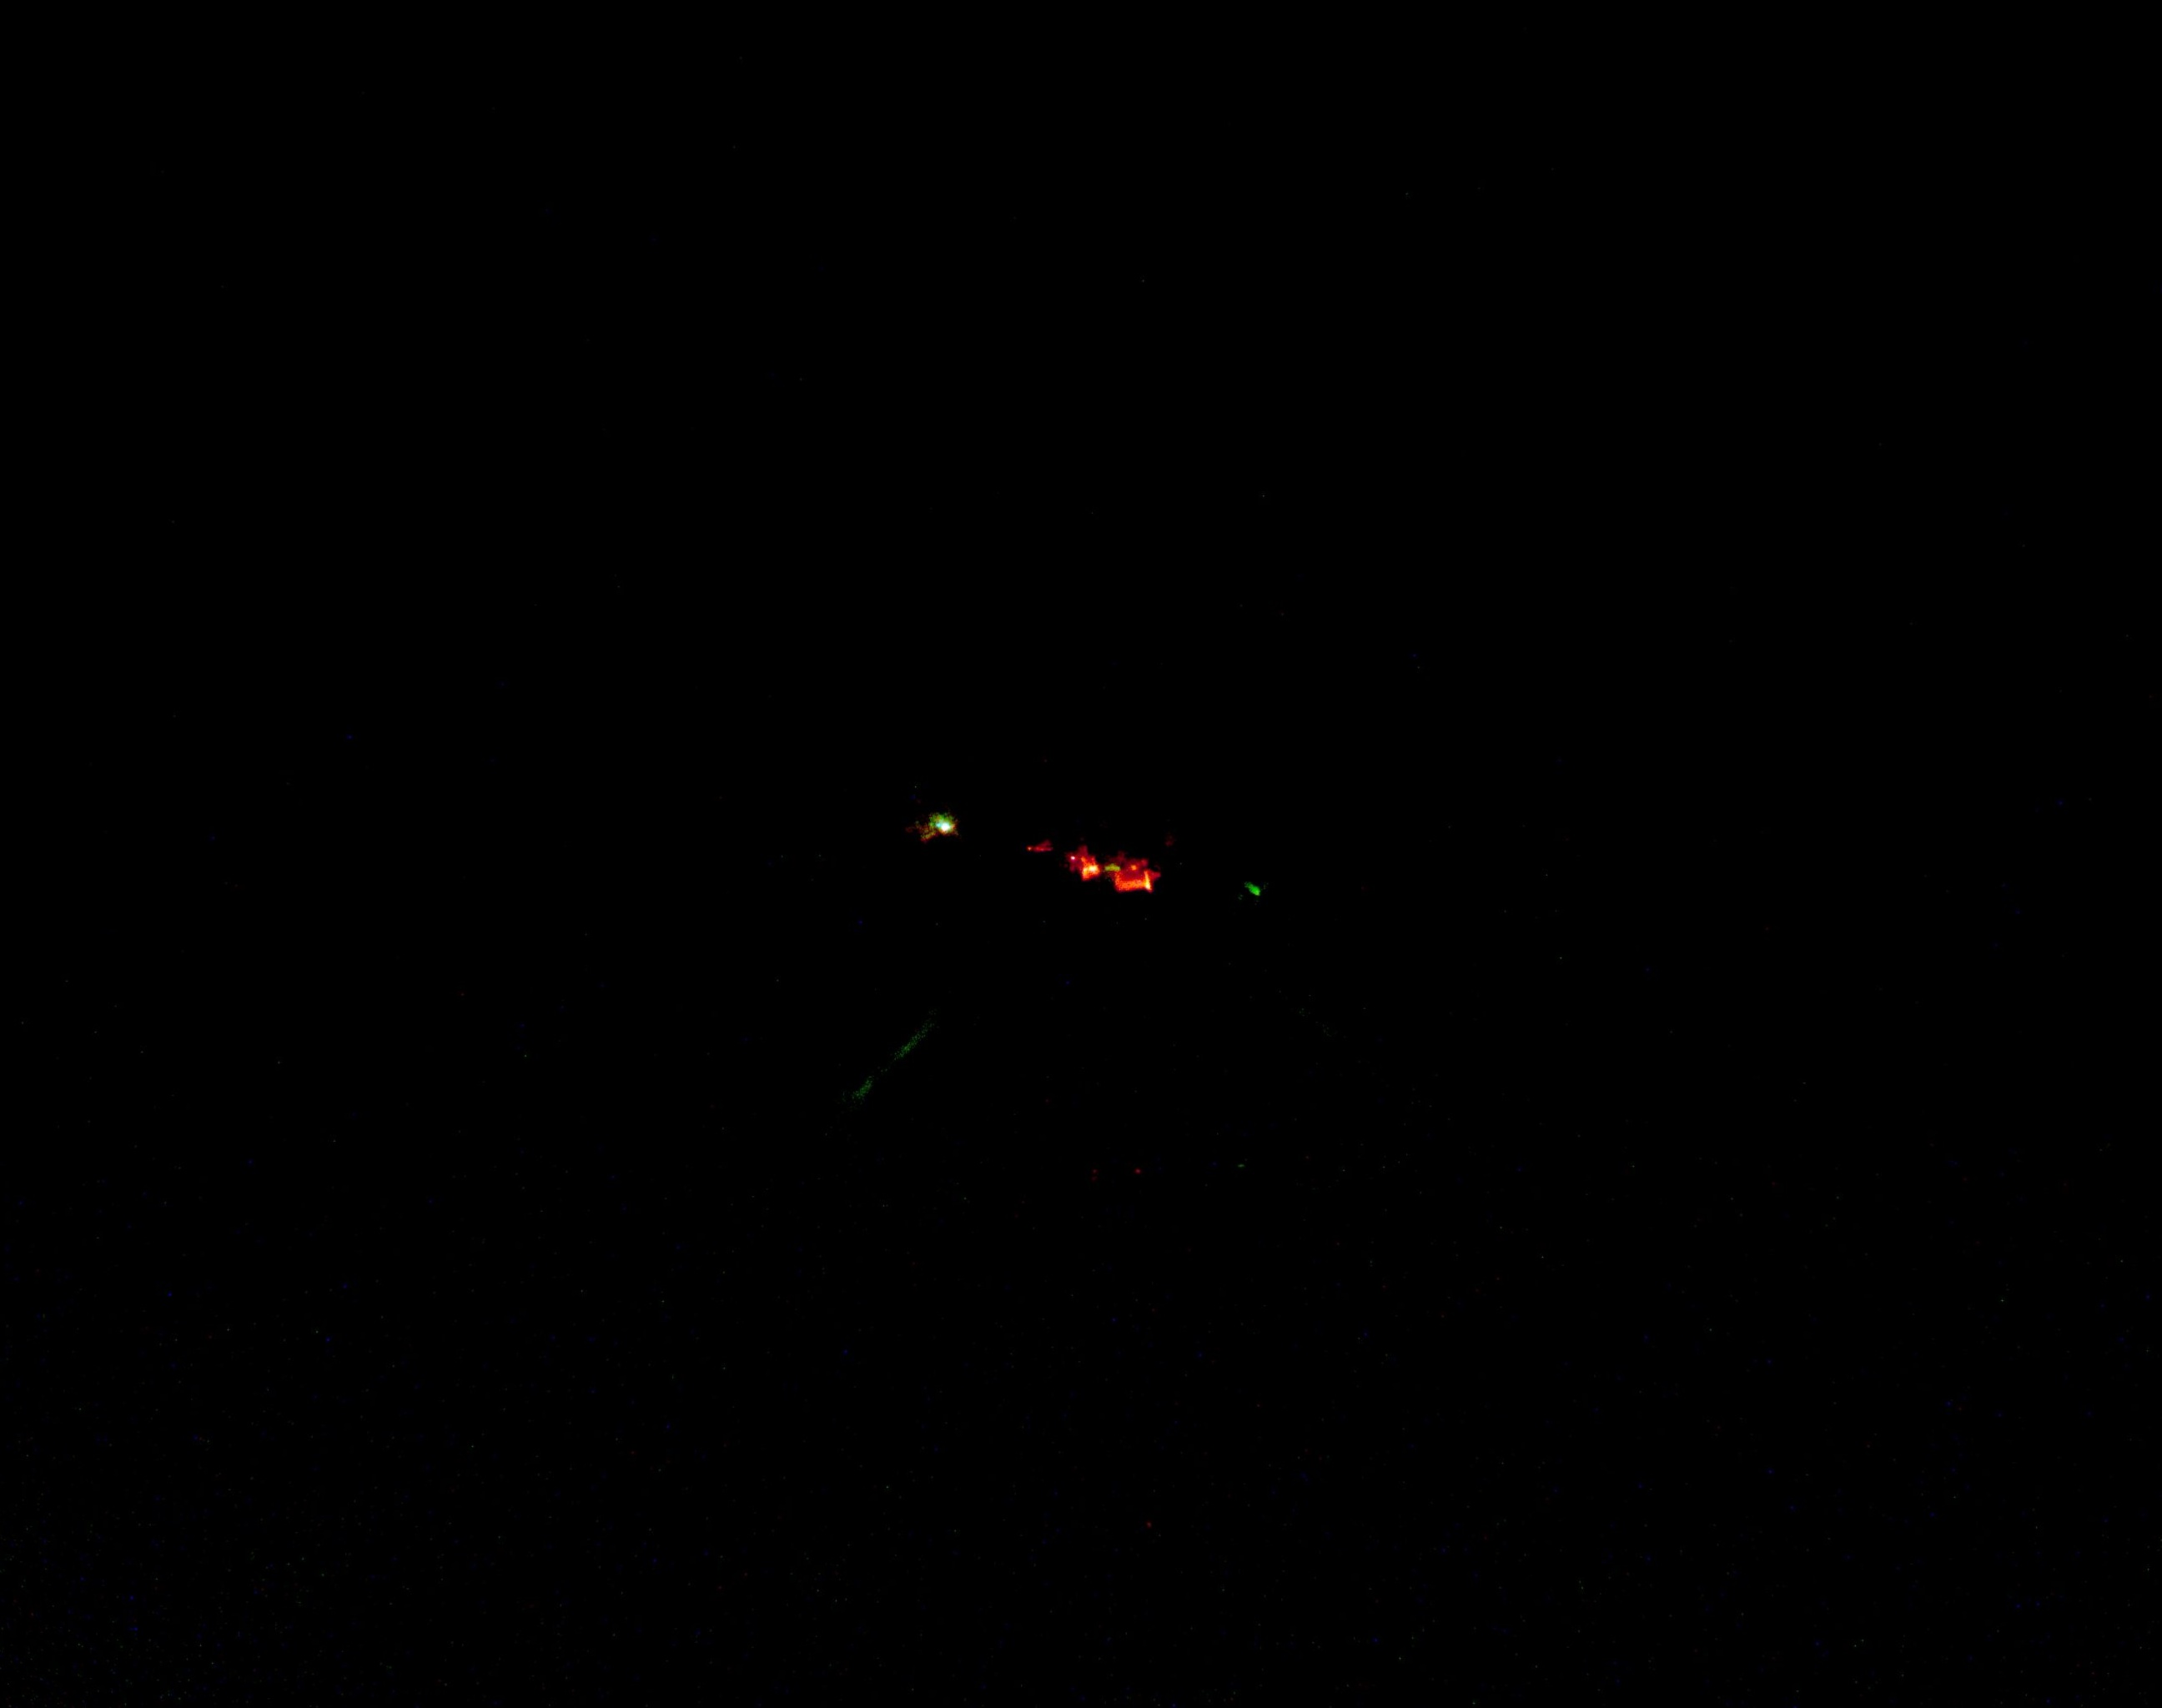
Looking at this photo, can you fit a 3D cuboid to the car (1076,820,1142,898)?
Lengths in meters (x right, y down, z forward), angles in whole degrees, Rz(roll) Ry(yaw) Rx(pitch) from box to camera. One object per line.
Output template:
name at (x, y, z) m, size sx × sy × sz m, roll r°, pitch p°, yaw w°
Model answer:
car at (1.034, 0.096, 29.828) m, size 2.173 × 2.557 × 4.511 m, roll 2°, pitch 2°, yaw 2°

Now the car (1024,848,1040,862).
car at (-7.699, 0.118, 128.533) m, size 1.986 × 2.013 × 4.002 m, roll -4°, pitch 0°, yaw 2°

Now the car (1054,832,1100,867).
car at (-0.209, -0.430, 65.573) m, size 3.369 × 2.557 × 7.340 m, roll 2°, pitch 2°, yaw 2°
